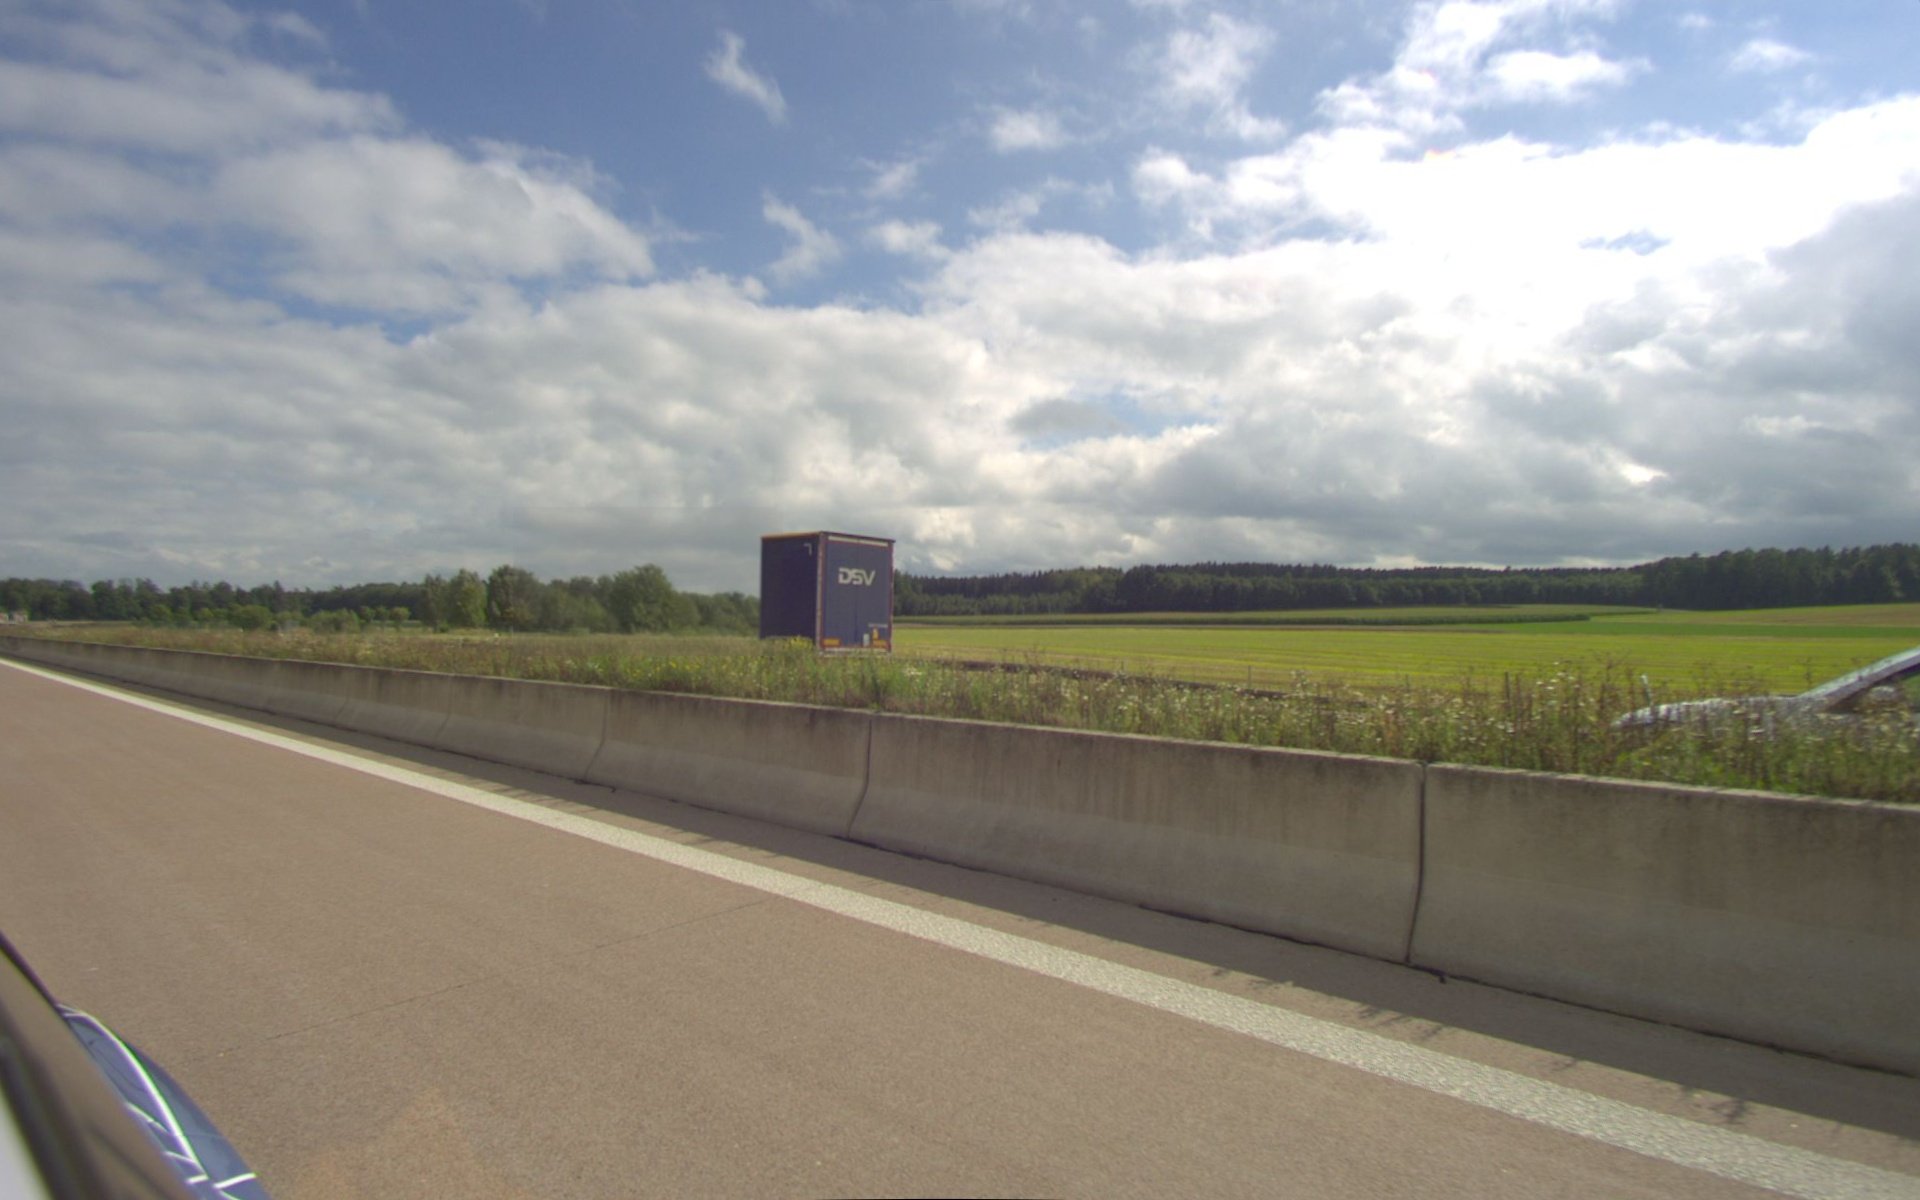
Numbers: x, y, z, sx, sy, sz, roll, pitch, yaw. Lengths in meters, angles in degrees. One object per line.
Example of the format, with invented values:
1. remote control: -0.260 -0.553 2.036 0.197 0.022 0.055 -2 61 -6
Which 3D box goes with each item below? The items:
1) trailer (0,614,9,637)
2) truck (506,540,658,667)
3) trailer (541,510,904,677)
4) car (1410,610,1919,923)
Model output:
1. trailer: -185.248 5.029 194.227 12.094 4.296 2.989 -2 0 43
2. truck: -13.007 0.175 34.691 5.288 3.989 2.741 -1 -2 42
3. trailer: -7.693 0.007 29.961 14.326 3.989 2.741 -1 -2 42
4. car: 6.511 1.060 7.028 5.882 1.923 1.972 -1 -3 42
